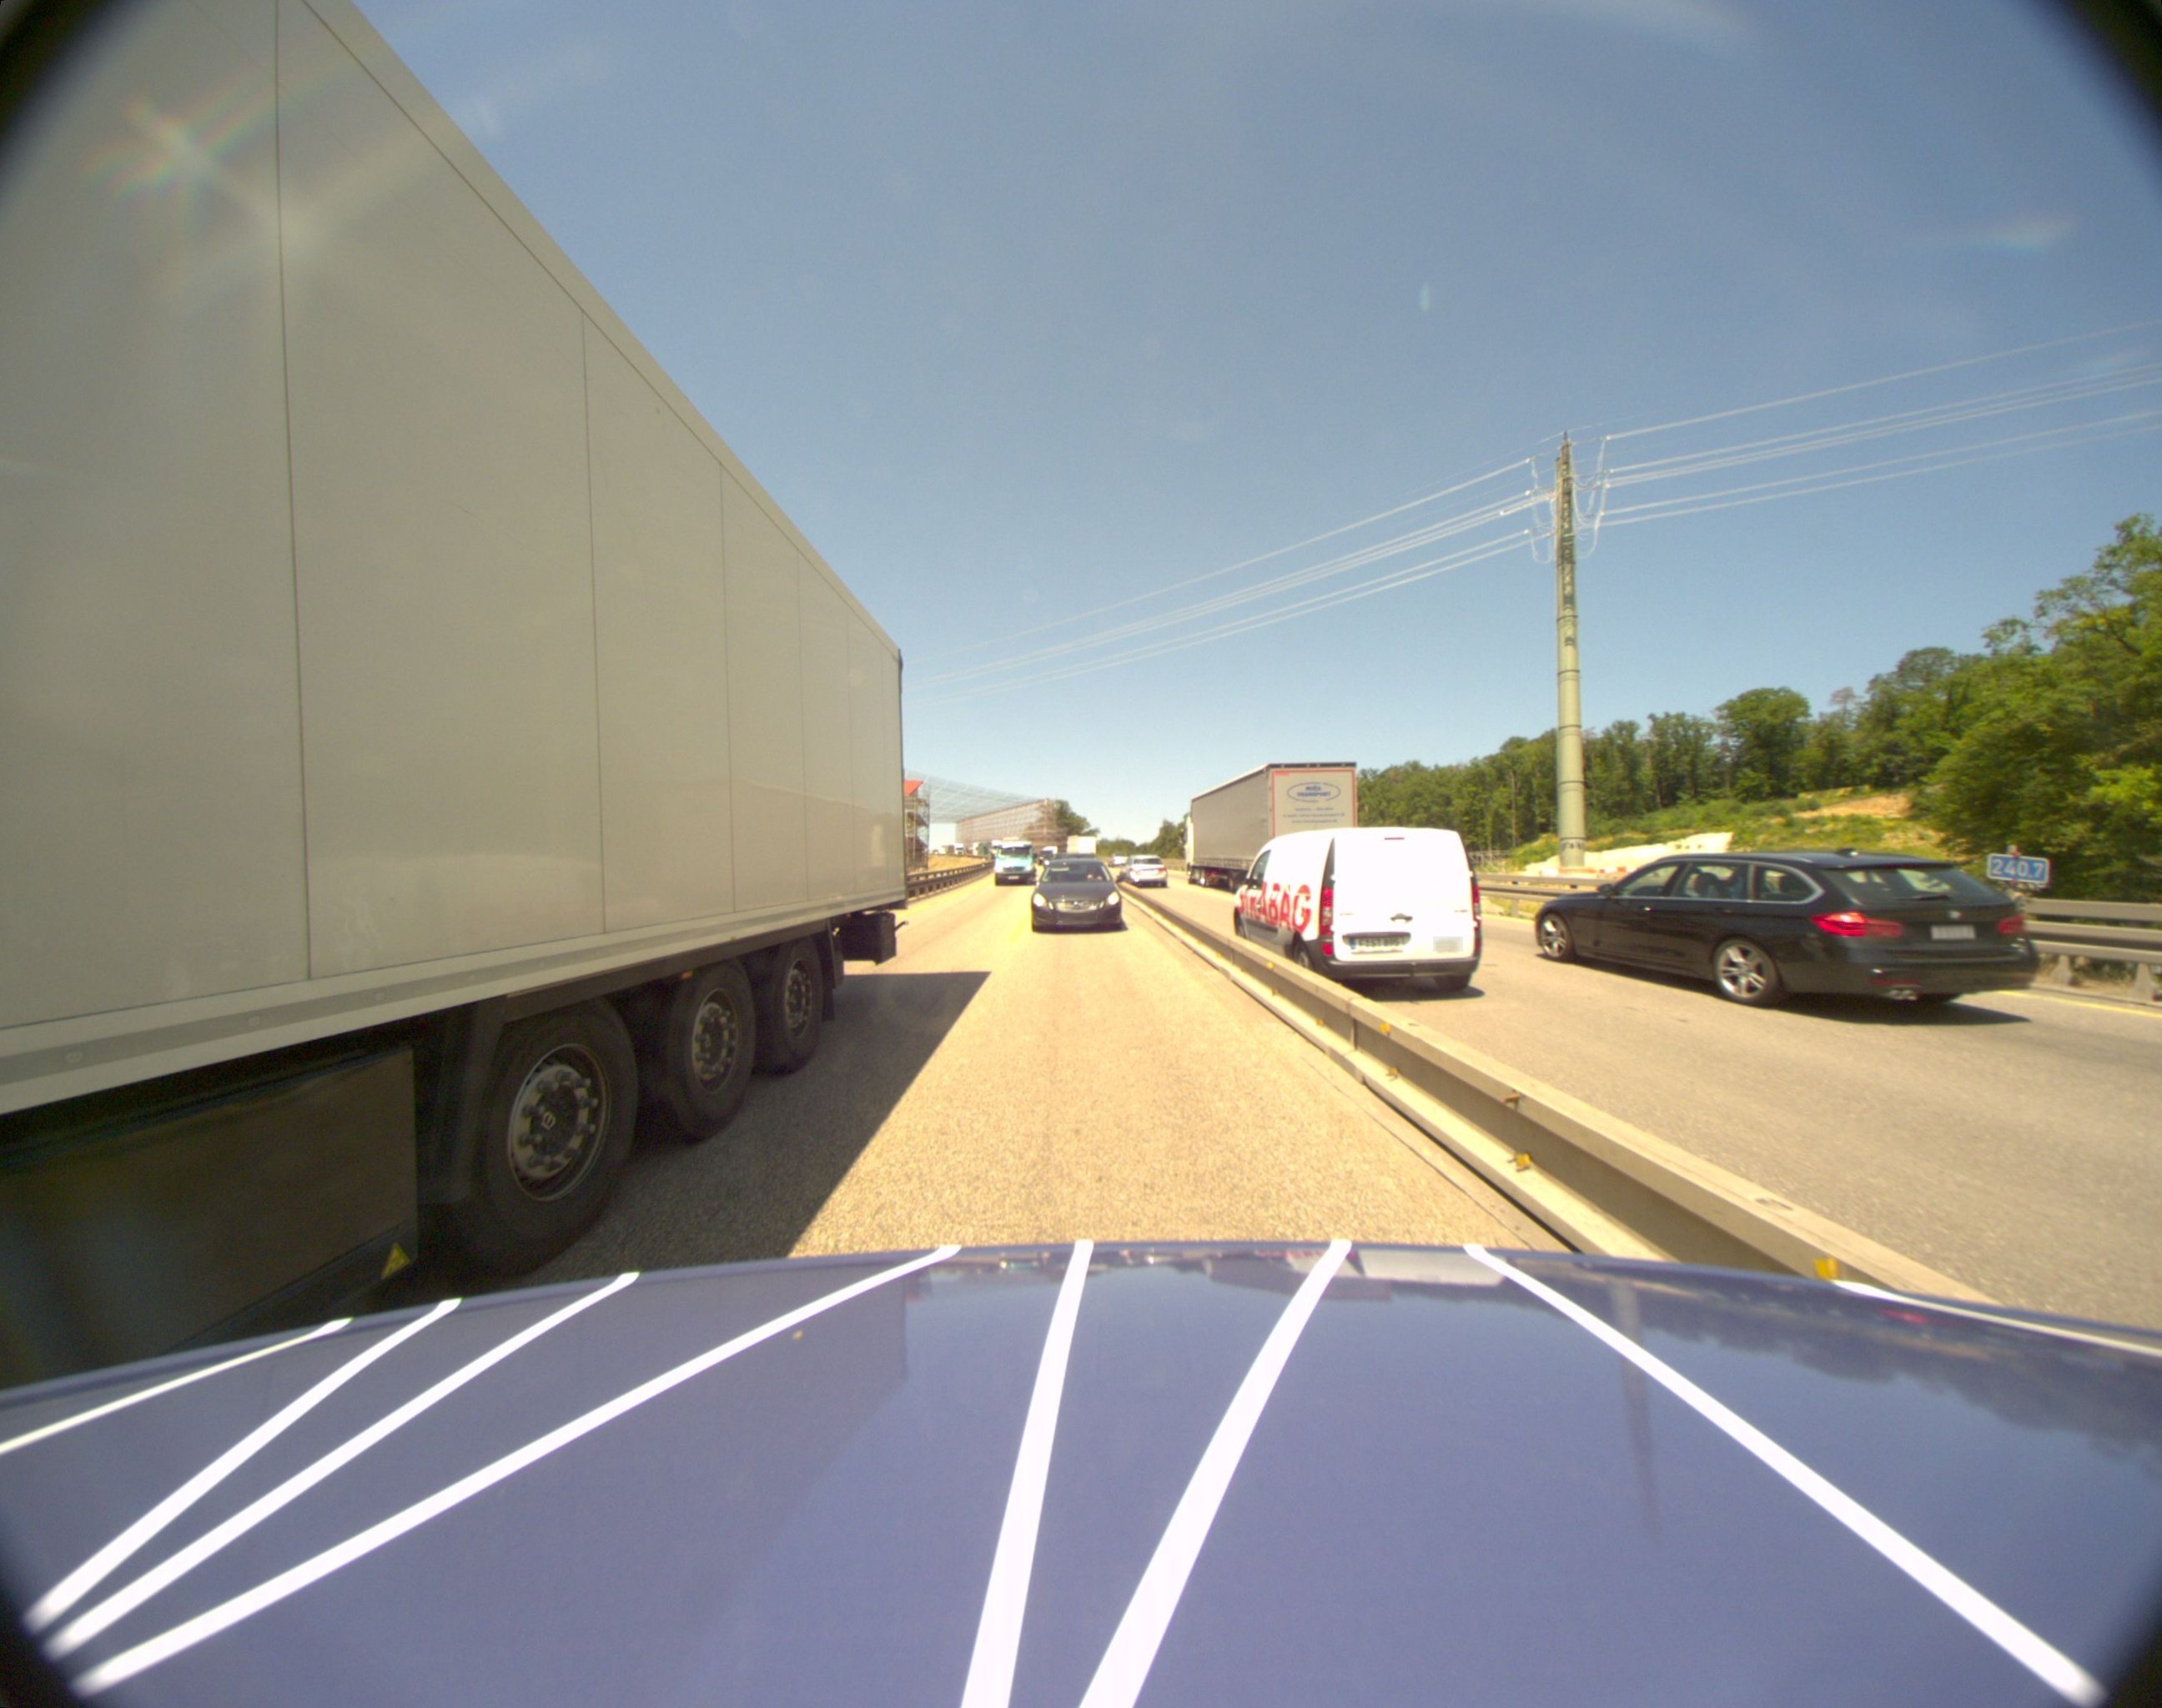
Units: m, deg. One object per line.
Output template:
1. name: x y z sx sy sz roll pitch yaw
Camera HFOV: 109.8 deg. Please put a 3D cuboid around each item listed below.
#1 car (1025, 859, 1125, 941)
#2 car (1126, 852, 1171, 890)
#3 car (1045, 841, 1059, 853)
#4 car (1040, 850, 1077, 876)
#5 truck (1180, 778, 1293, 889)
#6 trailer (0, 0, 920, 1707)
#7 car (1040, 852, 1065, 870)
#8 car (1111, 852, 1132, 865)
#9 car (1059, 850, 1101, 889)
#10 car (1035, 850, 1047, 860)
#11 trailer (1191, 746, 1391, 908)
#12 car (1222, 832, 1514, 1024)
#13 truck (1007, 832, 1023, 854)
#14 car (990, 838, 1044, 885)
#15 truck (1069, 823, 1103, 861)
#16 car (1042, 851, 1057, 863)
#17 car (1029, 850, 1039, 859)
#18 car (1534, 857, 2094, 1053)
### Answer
1. car: -0.086 0.880 16.596 1.844 1.475 4.563 -1 0 1
2. car: 3.039 0.742 34.885 1.720 1.543 3.860 -2 1 1
3. car: -6.120 -1.498 160.364 2.916 2.425 7.371 -2 1 -2
4. car: -1.478 0.607 52.217 2.297 1.601 4.664 -2 1 0
5. truck: 6.820 -0.877 34.597 3.405 4.396 7.274 -2 1 -1
6. trailer: -3.185 -0.288 3.073 2.538 4.103 11.545 -2 1 0
7. car: -2.368 0.589 63.842 1.646 1.366 3.345 -2 1 4
8. car: 4.161 0.430 78.595 1.758 1.237 3.591 -2 1 -2
9. car: 0.005 0.615 32.686 1.519 1.543 3.861 -1 1 4
10. car: -6.032 0.196 114.105 1.647 1.366 3.344 -2 1 -1
11. trailer: 6.888 -0.830 27.924 3.498 4.460 12.923 -2 1 -1
12. car: 3.145 0.684 9.376 1.865 1.762 4.231 -2 1 -1
13. truck: -11.139 -1.794 128.870 2.471 3.464 9.863 -2 1 -4
14. car: -3.316 0.336 41.082 2.217 2.312 6.901 -1 1 1
15. truck: 0.597 -1.822 116.788 3.567 5.334 16.084 -2 1 -5
16. car: -3.999 0.326 95.448 1.647 1.366 3.343 -2 1 -5
17. car: -8.248 0.066 133.389 1.647 1.366 3.343 -2 1 -5
18. car: 6.913 0.791 7.999 1.781 1.420 4.303 -1 1 1
